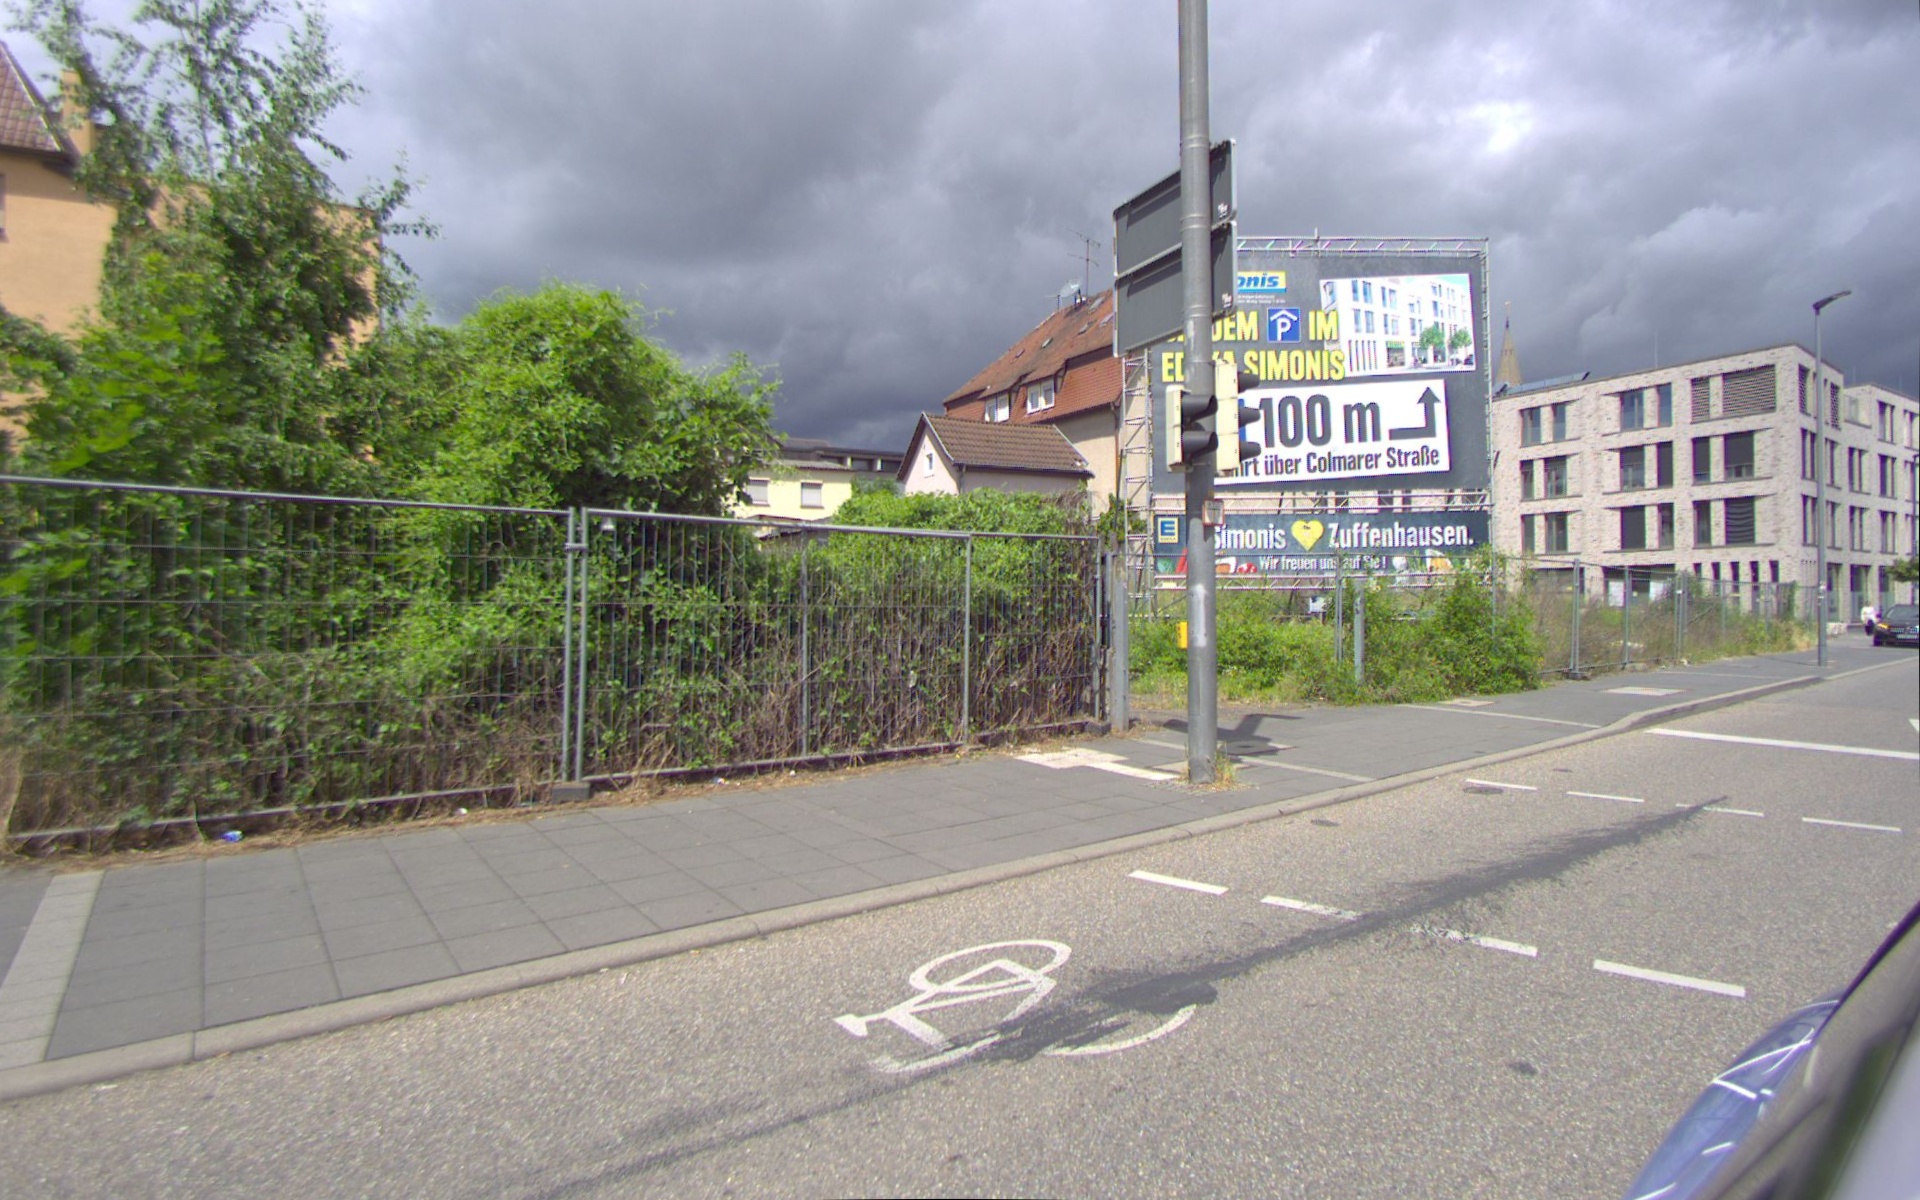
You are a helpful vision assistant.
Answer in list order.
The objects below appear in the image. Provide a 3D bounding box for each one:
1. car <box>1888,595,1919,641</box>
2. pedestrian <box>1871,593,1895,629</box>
[{"bbox_3d":[32.729,0.594,34.018,3.726,1.441,1.678,-1,2,-39],"label":"car"},{"bbox_3d":[39.872,0.482,43.731,0.769,1.531,0.673,1,0,-41],"label":"pedestrian"}]
